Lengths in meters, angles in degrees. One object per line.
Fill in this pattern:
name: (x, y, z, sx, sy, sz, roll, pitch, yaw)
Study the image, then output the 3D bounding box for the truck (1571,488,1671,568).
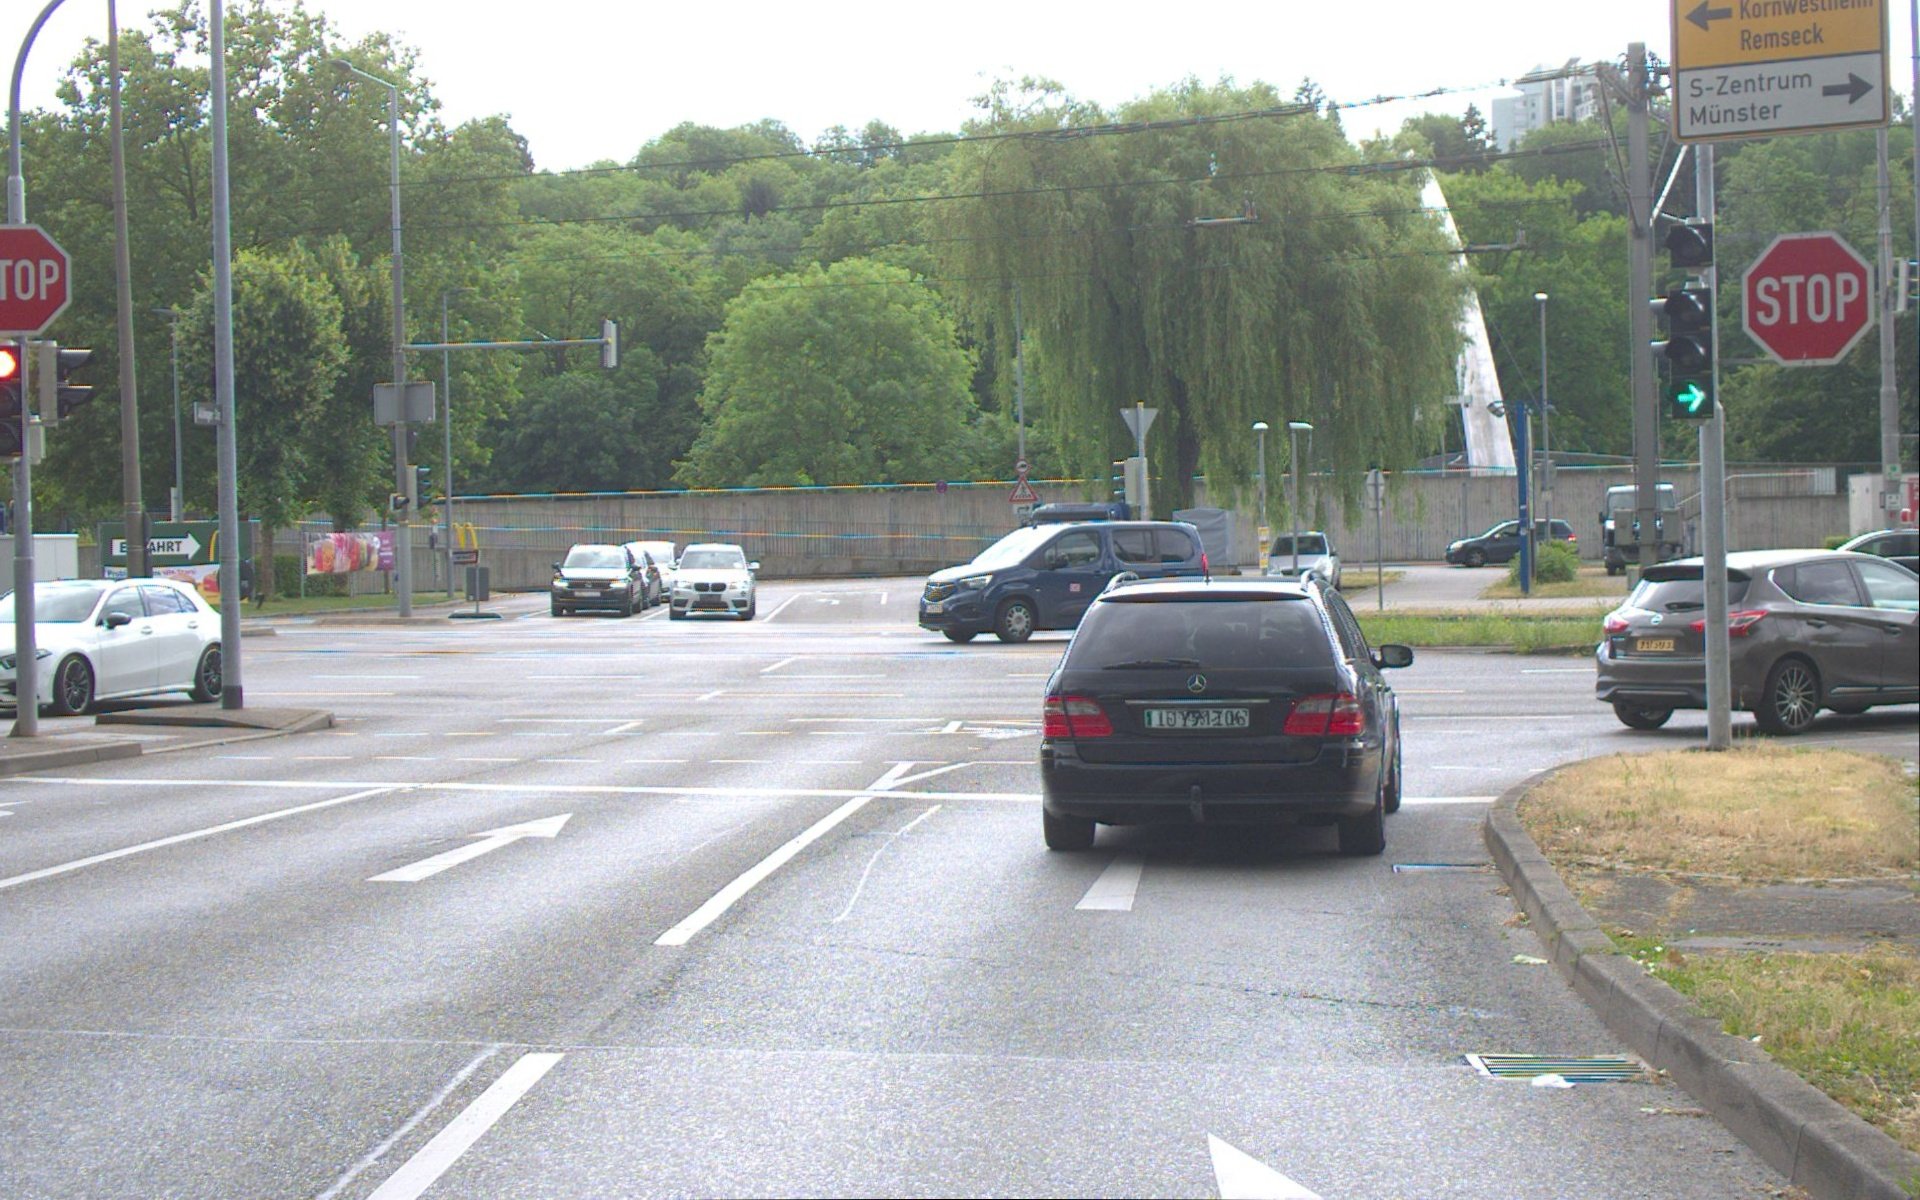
truck: (17.661, -1.894, 91.686, 2.236, 2.007, 5.237, -2, 0, 15)

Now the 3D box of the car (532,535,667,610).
car: (-8.376, -0.661, 80.185, 1.994, 1.634, 3.998, -1, 1, 12)

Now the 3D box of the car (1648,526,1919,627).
car: (13.487, -0.380, 54.377, 5.053, 1.518, 1.743, -1, 1, 10)

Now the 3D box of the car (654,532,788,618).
car: (-5.388, -0.597, 77.931, 1.994, 1.853, 3.998, -1, 1, 12)

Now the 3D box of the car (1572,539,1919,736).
car: (7.314, 0.266, 29.501, 4.136, 1.525, 1.732, -2, 2, -38)

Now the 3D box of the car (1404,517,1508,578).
car: (15.598, -1.636, 108.116, 3.151, 1.812, 1.402, -2, 0, 10)

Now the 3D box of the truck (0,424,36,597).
truck: (-24.339, -1.725, 72.111, 9.106, 3.575, 3.217, -2, 0, 16)

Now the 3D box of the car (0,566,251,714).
car: (-9.457, 0.388, 36.688, 1.602, 1.401, 4.287, 0, 1, 22)

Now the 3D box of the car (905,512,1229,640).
car: (1.594, -0.375, 50.798, 4.543, 1.768, 1.607, -1, 1, -25)

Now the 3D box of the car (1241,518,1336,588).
car: (8.501, -1.234, 88.713, 1.994, 1.744, 3.998, -1, 1, 12)

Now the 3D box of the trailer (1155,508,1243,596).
trailer: (6.300, -1.248, 90.137, 1.994, 2.176, 3.999, -2, 0, 8)

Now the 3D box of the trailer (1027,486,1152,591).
trailer: (3.380, -1.570, 88.655, 2.353, 2.573, 4.917, -2, 0, 12)

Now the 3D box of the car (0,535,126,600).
car: (-29.534, -1.059, 112.250, 3.988, 2.007, 2.000, -2, 0, 6)

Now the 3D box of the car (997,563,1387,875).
car: (1.425, 0.561, 19.332, 1.823, 1.504, 4.573, 0, 1, 8)
